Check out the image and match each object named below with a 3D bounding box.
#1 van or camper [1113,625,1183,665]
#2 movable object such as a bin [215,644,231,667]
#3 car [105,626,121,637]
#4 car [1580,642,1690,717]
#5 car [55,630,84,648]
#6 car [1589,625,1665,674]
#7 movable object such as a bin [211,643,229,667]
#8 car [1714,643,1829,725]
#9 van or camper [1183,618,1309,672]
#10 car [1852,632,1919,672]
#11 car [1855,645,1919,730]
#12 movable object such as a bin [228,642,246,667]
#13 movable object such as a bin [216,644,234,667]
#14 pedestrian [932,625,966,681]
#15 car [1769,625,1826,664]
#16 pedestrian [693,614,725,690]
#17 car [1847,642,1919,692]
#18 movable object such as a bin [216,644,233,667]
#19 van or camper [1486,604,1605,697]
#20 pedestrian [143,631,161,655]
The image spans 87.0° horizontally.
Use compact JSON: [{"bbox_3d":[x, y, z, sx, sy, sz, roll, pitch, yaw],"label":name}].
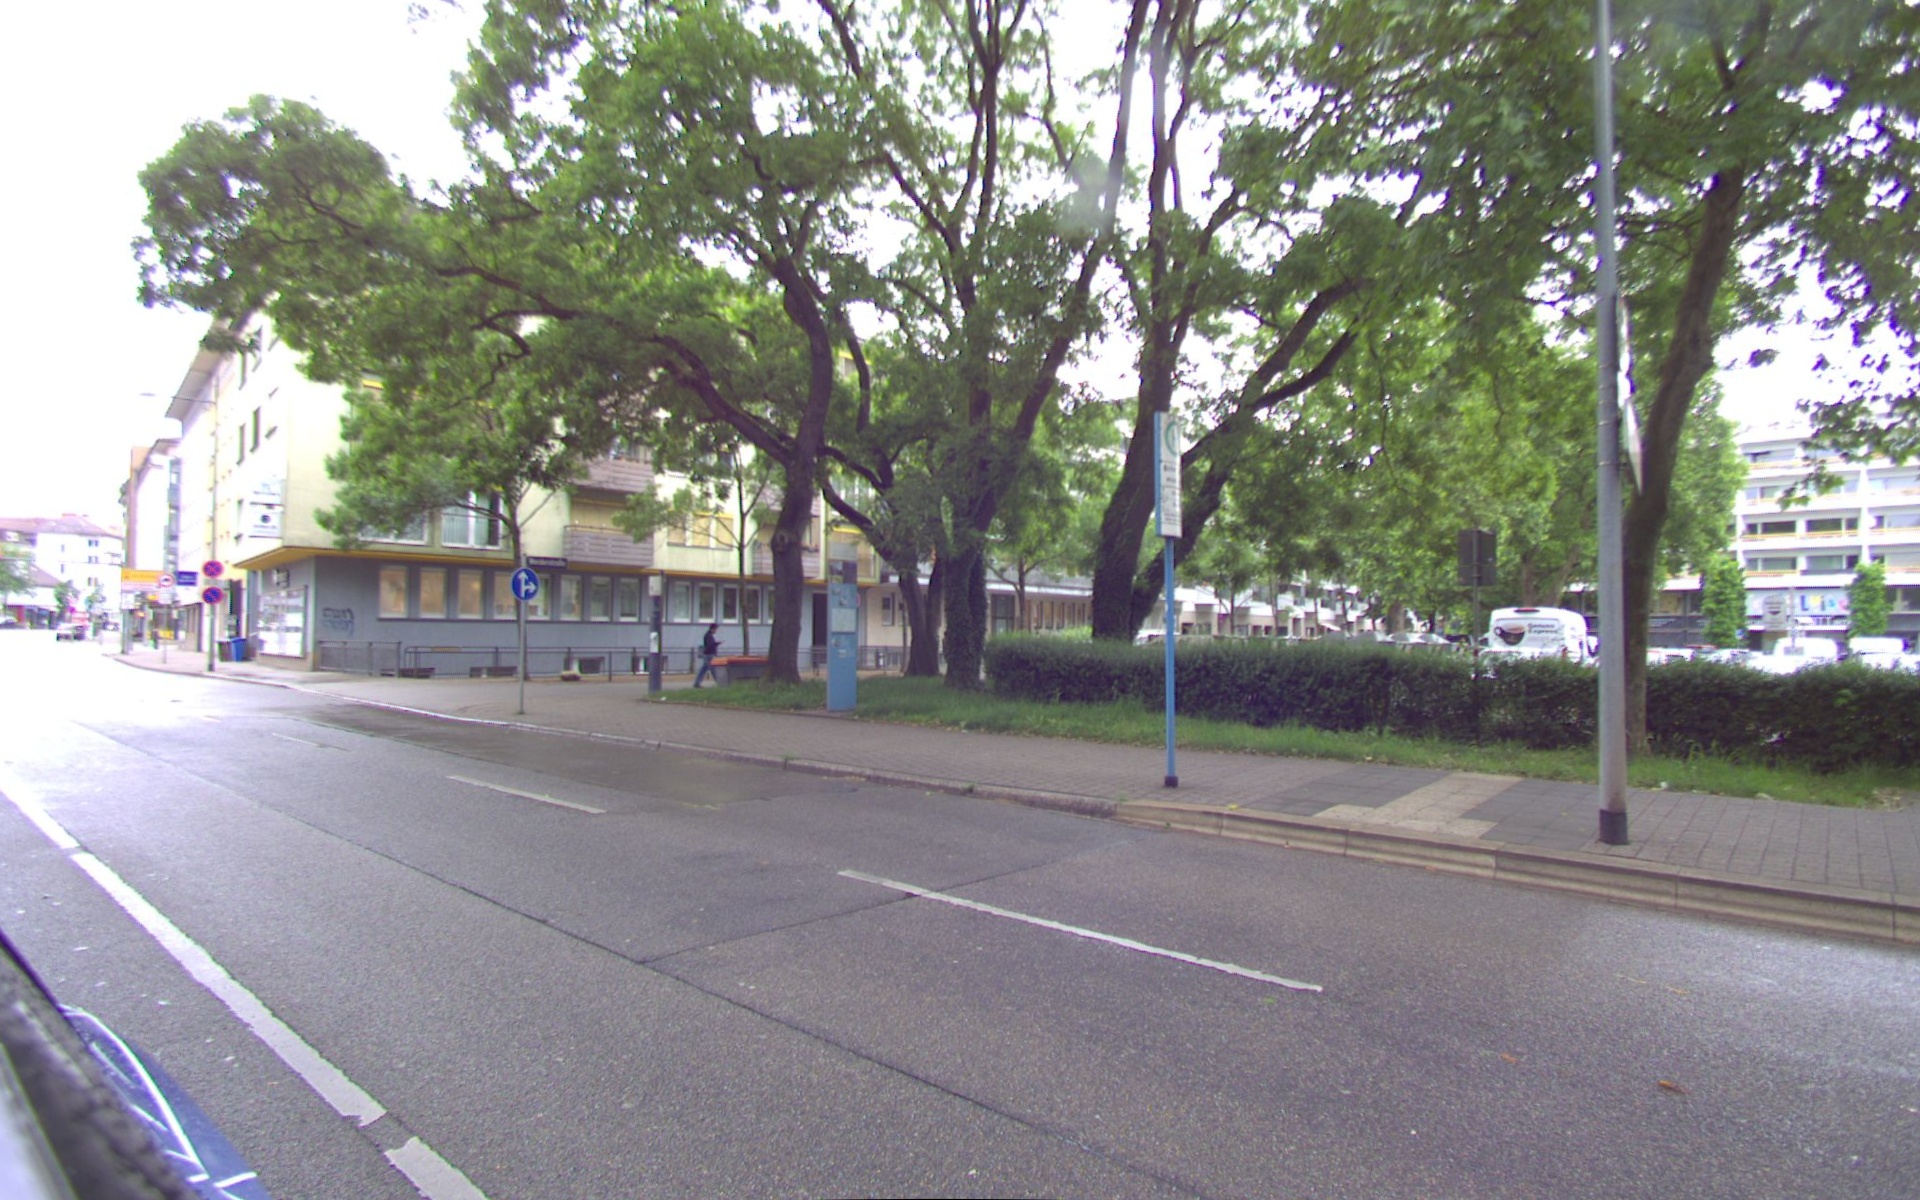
[{"bbox_3d":[10.392,2.507,55.611,1.825,2.029,4.576,1,-2,38],"label":"van or camper"},{"bbox_3d":[-31.179,2.361,42.813,0.458,0.935,0.429,-3,1,-42],"label":"movable object such as a bin"},{"bbox_3d":[-126.939,4.743,151.725,1.567,1.539,3.496,2,-3,-36],"label":"car"},{"bbox_3d":[16.719,1.877,25.001,1.895,1.497,3.948,-1,0,39],"label":"car"},{"bbox_3d":[-82.132,3.607,93.411,1.807,1.634,4.007,2,-3,-39],"label":"car"},{"bbox_3d":[24.044,1.731,36.441,1.895,1.497,3.948,-1,0,39],"label":"car"},{"bbox_3d":[-31.712,2.354,43.368,0.510,1.008,0.524,-3,1,-42],"label":"movable object such as a bin"},{"bbox_3d":[18.598,1.846,23.216,1.895,1.497,3.948,-1,0,39],"label":"car"},{"bbox_3d":[14.124,2.194,49.401,2.561,2.420,8.535,-2,-3,41],"label":"van or camper"},{"bbox_3d":[40.313,2.247,44.157,1.895,1.497,3.948,-1,0,39],"label":"car"},{"bbox_3d":[20.495,1.815,21.608,1.895,1.497,3.948,-1,0,39],"label":"car"},{"bbox_3d":[-29.882,2.238,41.824,0.522,0.968,0.435,-3,1,-42],"label":"movable object such as a bin"},{"bbox_3d":[-30.527,2.297,42.015,0.522,0.902,0.435,-3,1,-42],"label":"movable object such as a bin"},{"bbox_3d":[-0.399,1.879,36.036,0.906,1.939,0.820,2,-3,-43],"label":"pedestrian"},{"bbox_3d":[41.883,2.210,50.679,2.097,1.735,3.948,-1,0,39],"label":"car"},{"bbox_3d":[-6.846,1.412,27.628,0.768,2.029,0.755,1,-2,-18],"label":"pedestrian"},{"bbox_3d":[33.346,2.382,36.461,1.895,1.497,3.948,-1,0,39],"label":"car"},{"bbox_3d":[-30.822,2.310,42.403,0.521,0.935,0.426,-3,1,-42],"label":"movable object such as a bin"},{"bbox_3d":[16.928,1.430,29.174,2.099,2.450,4.280,-2,-3,42],"label":"van or camper"},{"bbox_3d":[-53.694,2.865,67.253,0.773,1.600,0.675,-1,-1,-29],"label":"pedestrian"}]
